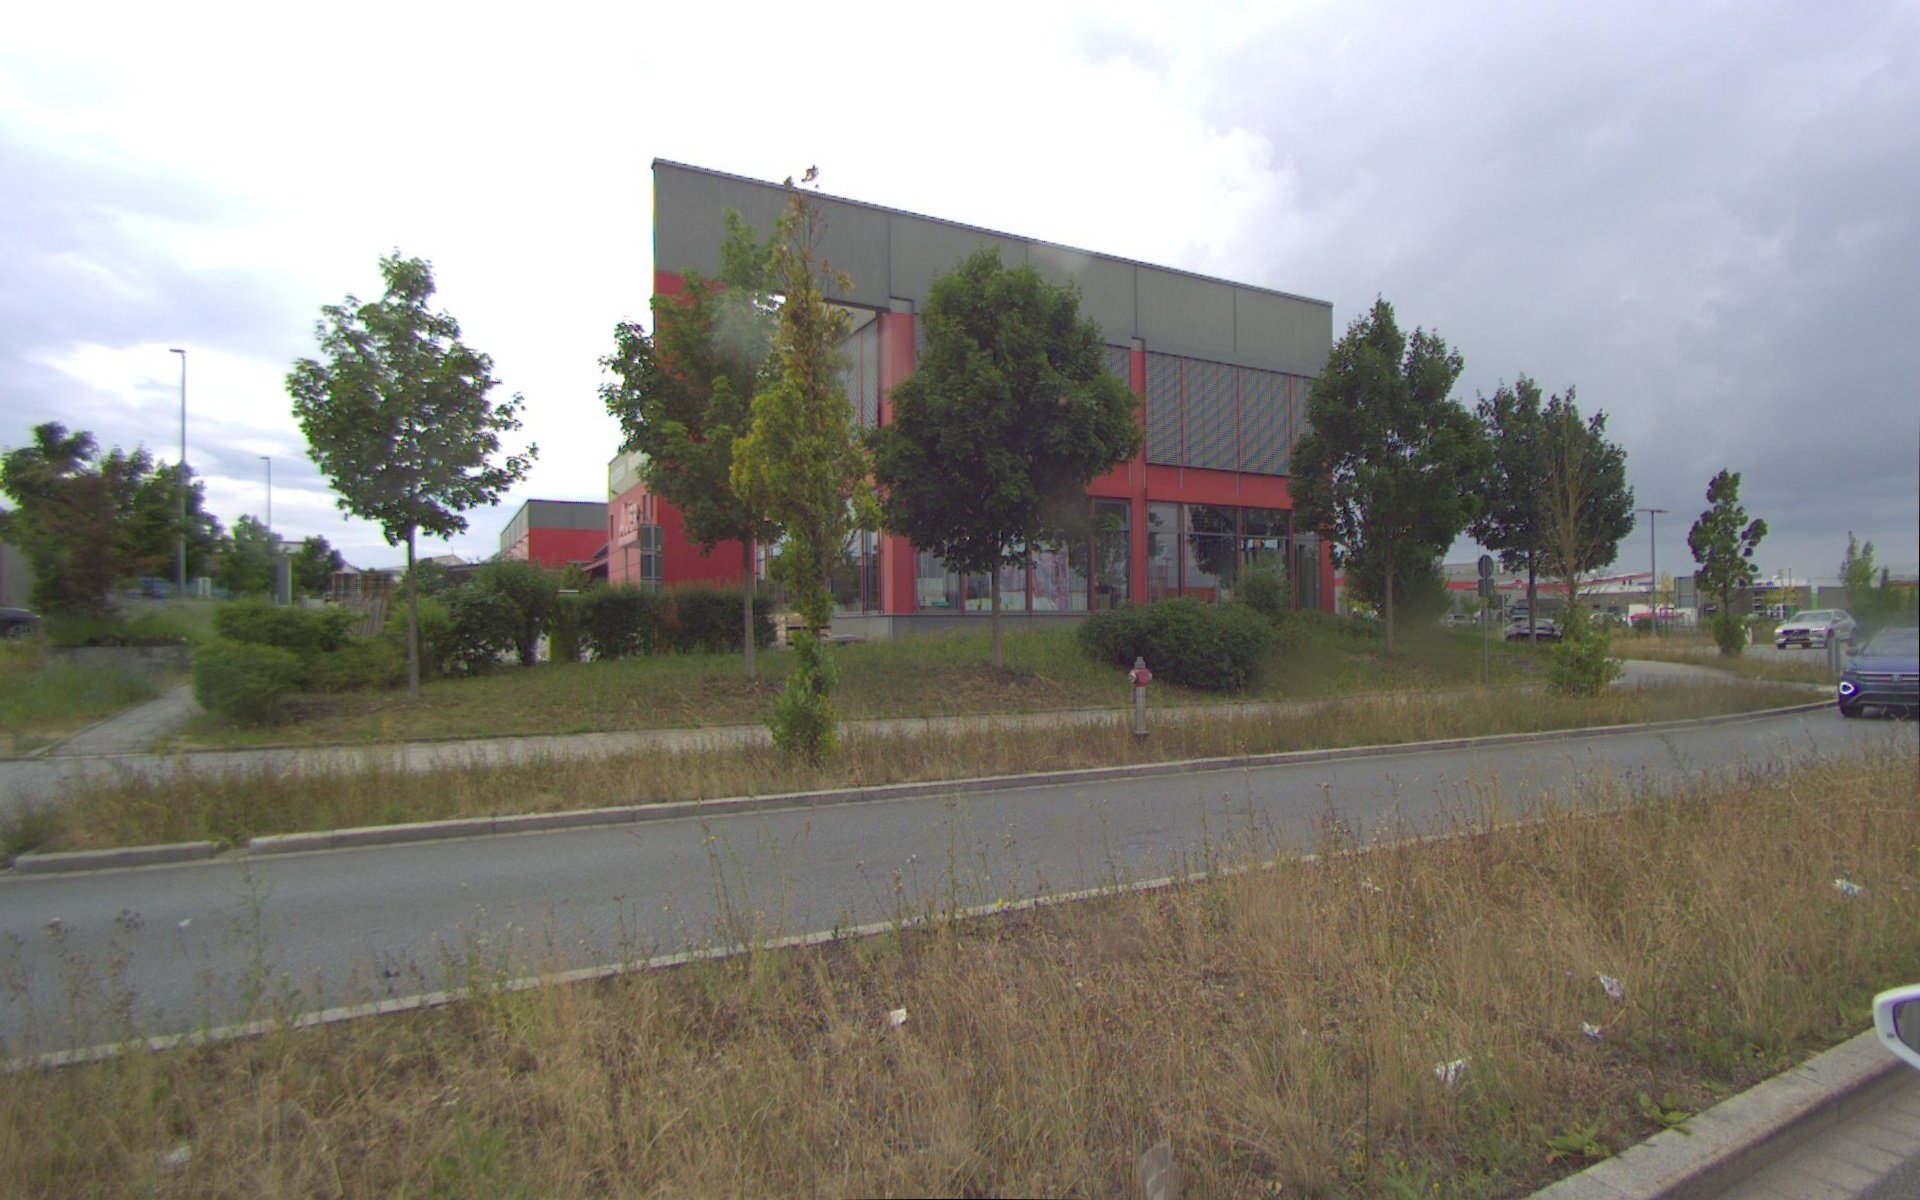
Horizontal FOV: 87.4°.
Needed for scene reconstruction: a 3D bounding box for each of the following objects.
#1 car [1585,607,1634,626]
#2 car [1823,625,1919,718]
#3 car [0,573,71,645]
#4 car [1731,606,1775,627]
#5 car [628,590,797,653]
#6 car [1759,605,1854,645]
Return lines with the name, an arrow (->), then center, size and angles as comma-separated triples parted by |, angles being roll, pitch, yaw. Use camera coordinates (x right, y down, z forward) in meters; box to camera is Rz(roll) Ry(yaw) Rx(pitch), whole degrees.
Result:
car -> 69.331, 1.757, 107.270 | 1.977, 2.040, 3.967 | 1, -1, -31
car -> 17.561, 1.274, 18.378 | 4.190, 1.548, 1.828 | 2, -4, -37
car -> -29.182, 0.263, 29.230 | 4.582, 2.060, 1.985 | 1, -2, -29
car -> 75.063, 1.563, 95.083 | 3.951, 1.884, 1.985 | 1, -1, -29
car -> -6.713, 0.572, 27.123 | 4.311, 1.572, 1.996 | 0, -1, 32
car -> 37.322, 1.117, 44.266 | 4.167, 1.713, 2.016 | 2, -1, -32
